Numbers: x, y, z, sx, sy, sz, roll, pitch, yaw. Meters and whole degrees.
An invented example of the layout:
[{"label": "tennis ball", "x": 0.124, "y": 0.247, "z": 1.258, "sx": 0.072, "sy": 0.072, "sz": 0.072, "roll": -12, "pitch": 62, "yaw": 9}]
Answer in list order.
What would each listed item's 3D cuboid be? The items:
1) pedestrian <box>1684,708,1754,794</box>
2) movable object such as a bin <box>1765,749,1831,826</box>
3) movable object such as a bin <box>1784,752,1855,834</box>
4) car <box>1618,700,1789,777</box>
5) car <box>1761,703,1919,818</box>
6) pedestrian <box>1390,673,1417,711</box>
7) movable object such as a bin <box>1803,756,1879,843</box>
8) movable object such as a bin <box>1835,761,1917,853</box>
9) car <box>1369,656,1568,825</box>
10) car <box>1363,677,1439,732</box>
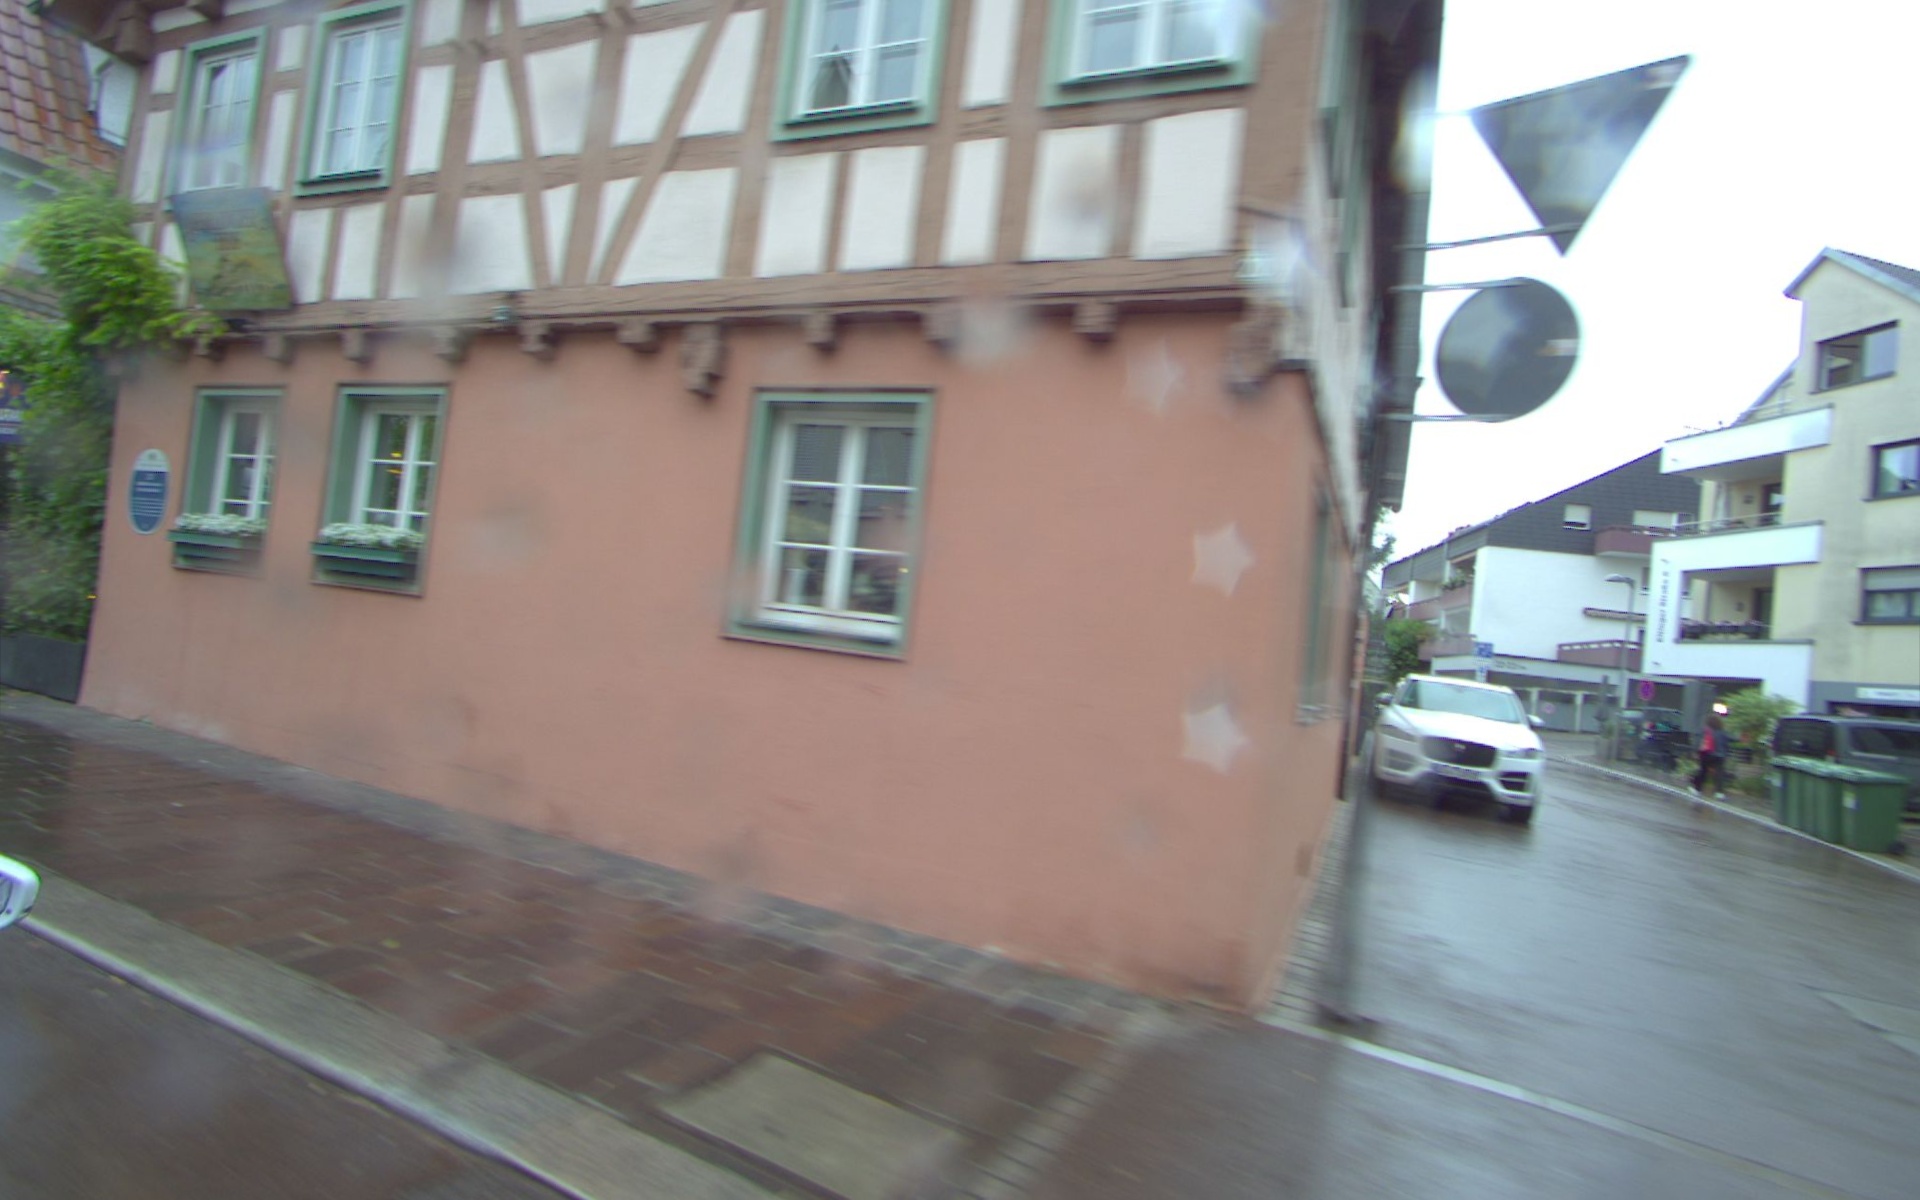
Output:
[{"label": "pedestrian", "x": 14.902, "y": 2.941, "z": 19.773, "sx": 0.746, "sy": 1.536, "sz": 0.842, "roll": 5, "pitch": -1, "yaw": 18}, {"label": "movable object such as a bin", "x": 13.487, "y": 3.005, "z": 16.206, "sx": 0.595, "sy": 1.106, "sz": 0.656, "roll": 5, "pitch": -2, "yaw": 25}, {"label": "movable object such as a bin", "x": 13.215, "y": 2.949, "z": 15.484, "sx": 0.595, "sy": 1.106, "sz": 0.656, "roll": 5, "pitch": -2, "yaw": 25}, {"label": "car", "x": 22.947, "y": 4.225, "z": 31.266, "sx": 3.933, "sy": 1.792, "sz": 1.997, "roll": 4, "pitch": -2, "yaw": 31}, {"label": "car", "x": 17.461, "y": 3.044, "z": 18.680, "sx": 3.660, "sy": 1.792, "sz": 1.628, "roll": 6, "pitch": -2, "yaw": 5}, {"label": "pedestrian", "x": 21.463, "y": 4.435, "z": 48.697, "sx": 0.820, "sy": 1.724, "sz": 0.903, "roll": 5, "pitch": -1, "yaw": 8}, {"label": "movable object such as a bin", "x": 12.786, "y": 2.880, "z": 14.616, "sx": 0.595, "sy": 1.106, "sz": 0.656, "roll": 5, "pitch": -2, "yaw": 25}, {"label": "movable object such as a bin", "x": 12.651, "y": 2.840, "z": 13.907, "sx": 0.595, "sy": 1.106, "sz": 0.656, "roll": 5, "pitch": -2, "yaw": 25}, {"label": "car", "x": 6.834, "y": 1.804, "z": 13.940, "sx": 1.909, "sy": 1.650, "sz": 4.467, "roll": 8, "pitch": -1, "yaw": 23}, {"label": "car", "x": 15.064, "y": 3.532, "z": 34.551, "sx": 1.963, "sy": 1.547, "sz": 4.003, "roll": 5, "pitch": -3, "yaw": 19}]
